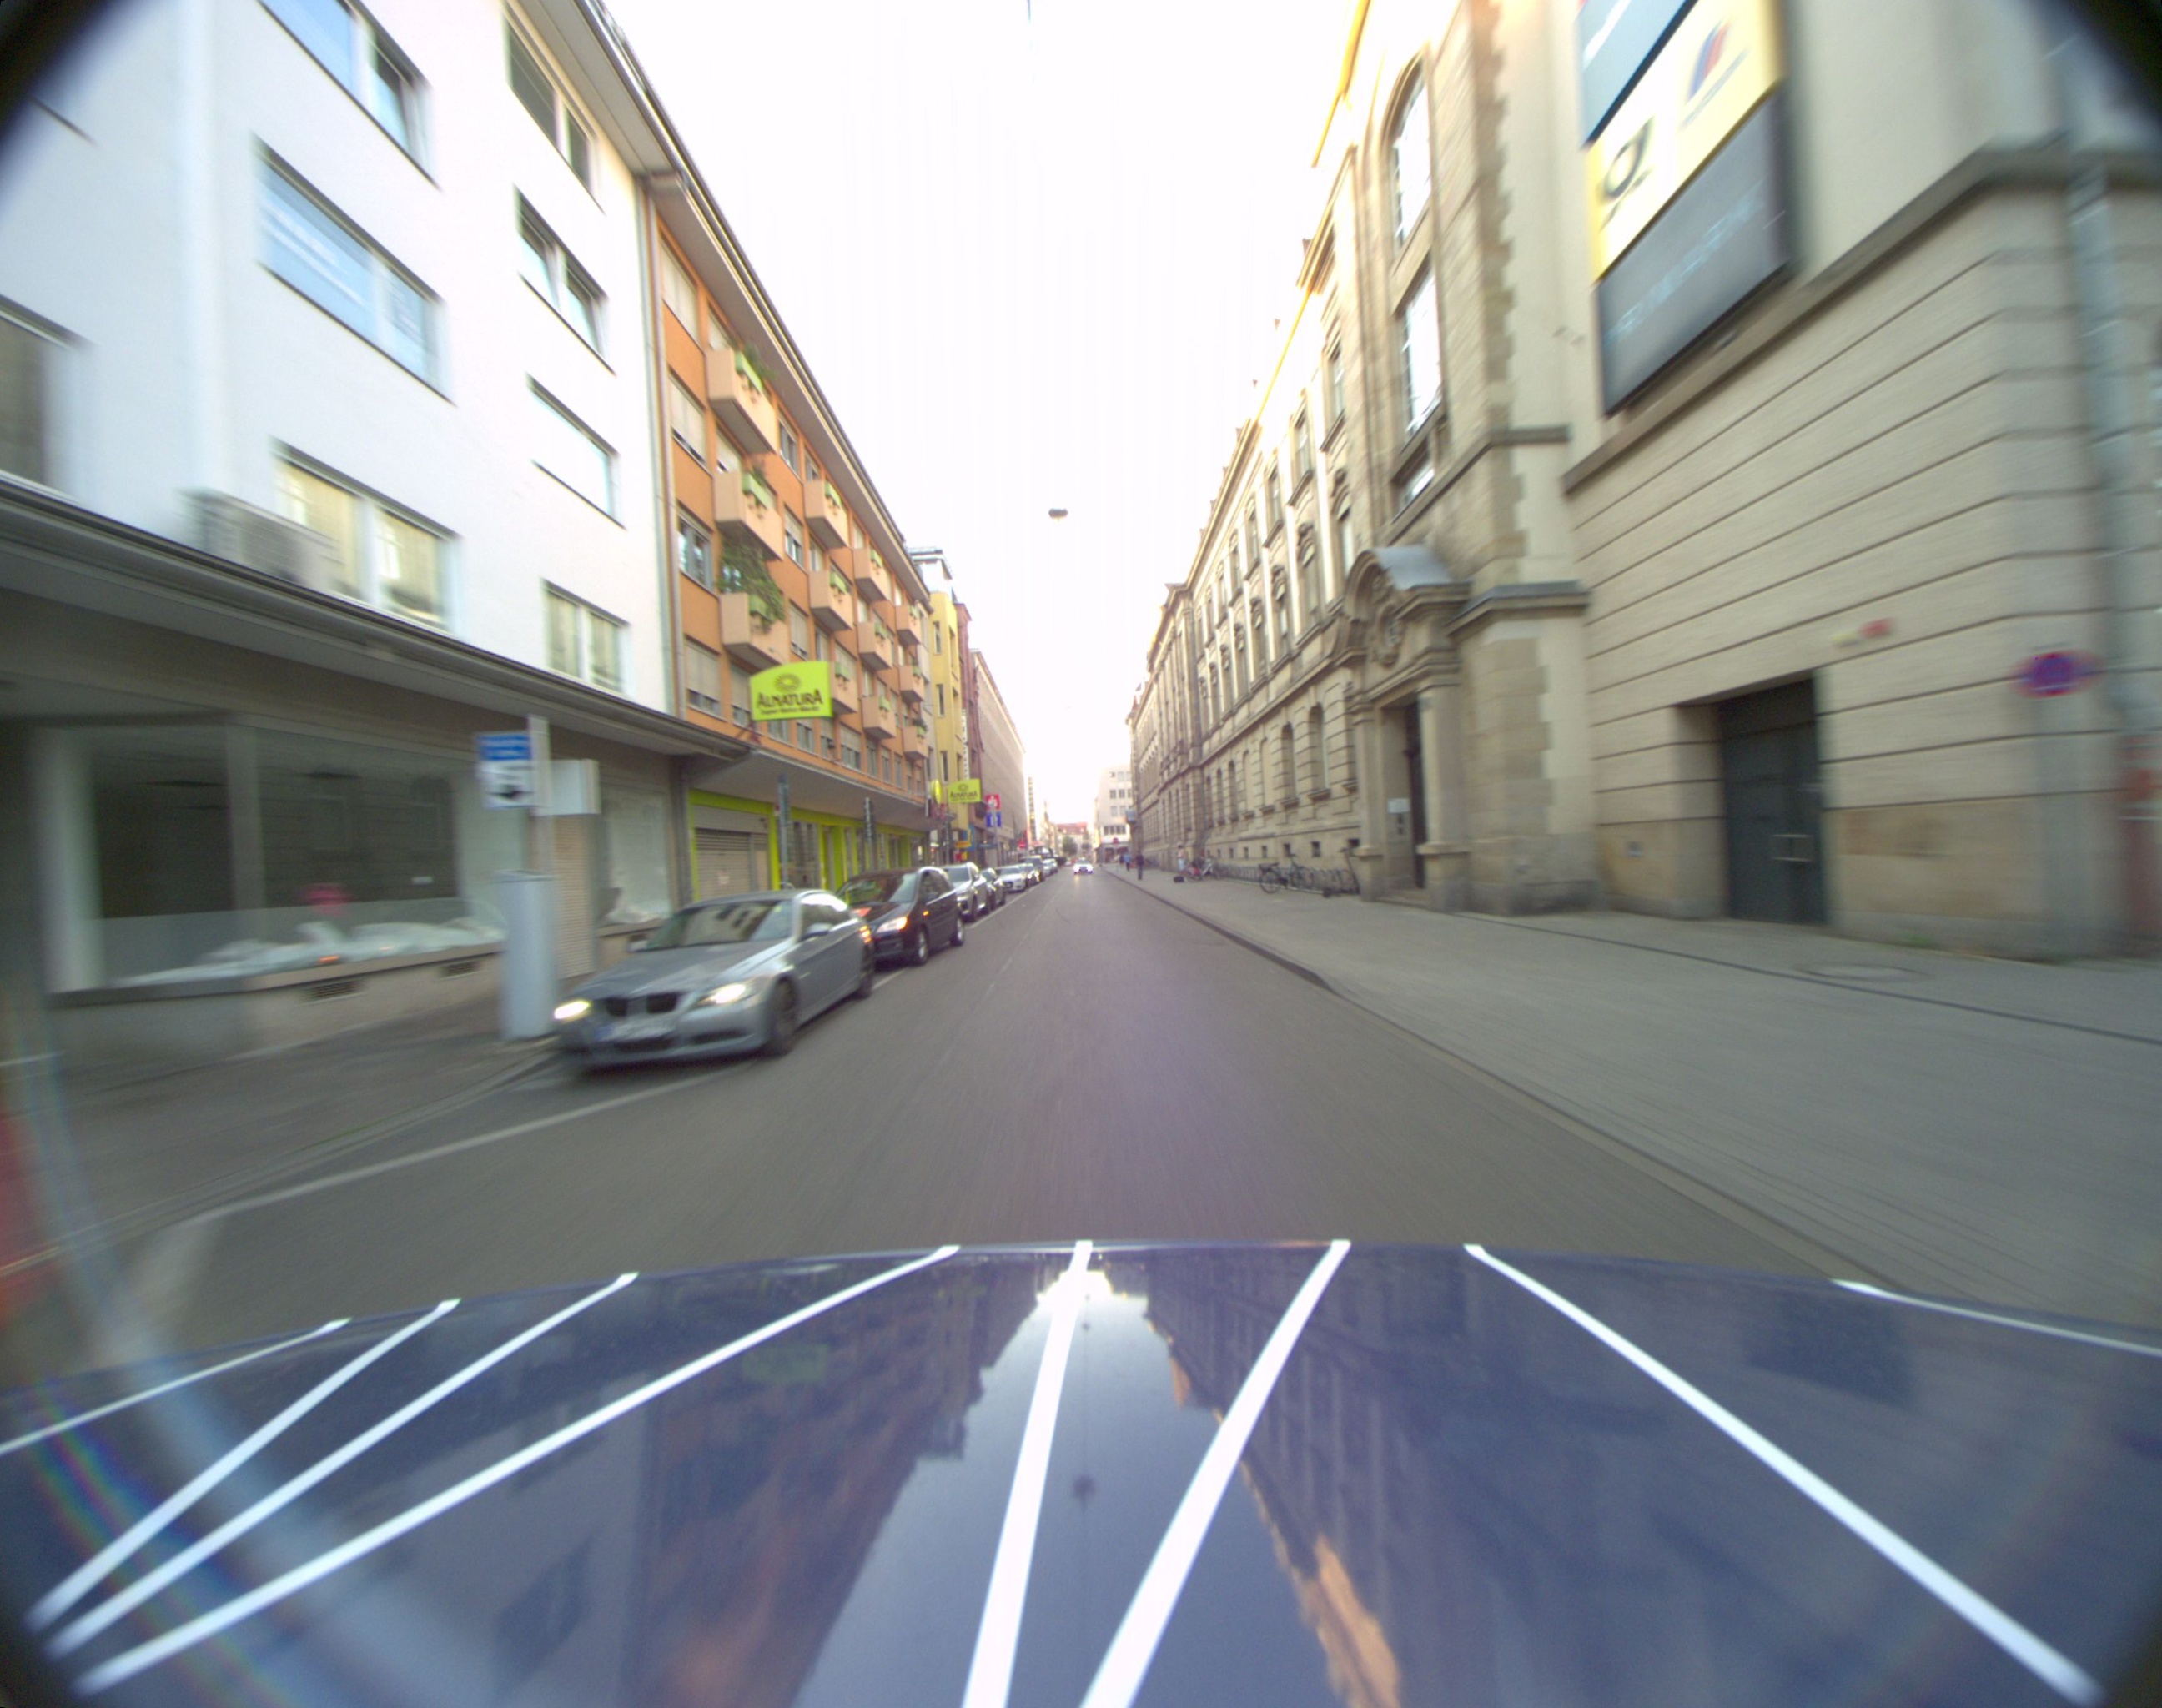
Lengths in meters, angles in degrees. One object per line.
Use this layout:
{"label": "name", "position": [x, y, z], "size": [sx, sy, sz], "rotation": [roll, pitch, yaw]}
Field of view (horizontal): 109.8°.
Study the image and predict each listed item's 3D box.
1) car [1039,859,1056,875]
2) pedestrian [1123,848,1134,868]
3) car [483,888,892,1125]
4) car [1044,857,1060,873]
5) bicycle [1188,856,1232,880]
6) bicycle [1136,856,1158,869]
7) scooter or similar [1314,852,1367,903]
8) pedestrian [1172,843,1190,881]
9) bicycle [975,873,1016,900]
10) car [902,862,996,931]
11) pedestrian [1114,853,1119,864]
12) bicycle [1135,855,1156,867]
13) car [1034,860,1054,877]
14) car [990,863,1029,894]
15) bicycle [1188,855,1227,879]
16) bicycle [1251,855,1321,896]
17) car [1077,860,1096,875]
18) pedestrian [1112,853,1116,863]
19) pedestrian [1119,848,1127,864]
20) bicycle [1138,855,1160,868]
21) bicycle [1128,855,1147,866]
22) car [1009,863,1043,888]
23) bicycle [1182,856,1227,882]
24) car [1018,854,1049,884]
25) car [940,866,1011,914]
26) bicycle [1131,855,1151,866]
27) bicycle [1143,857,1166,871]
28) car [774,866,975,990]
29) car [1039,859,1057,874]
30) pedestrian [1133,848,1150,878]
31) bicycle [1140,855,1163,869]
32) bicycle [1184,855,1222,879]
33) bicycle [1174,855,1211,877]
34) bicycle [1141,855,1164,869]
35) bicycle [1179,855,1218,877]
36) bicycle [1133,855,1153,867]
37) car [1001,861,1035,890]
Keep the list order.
{"label": "car", "position": [-3.535, 1.364, 80.562], "size": [1.661, 1.439, 4.444], "rotation": [-4, 0, -1]}
{"label": "pedestrian", "position": [4.425, 0.388, 71.003], "size": [0.831, 1.735, 0.769], "rotation": [-5, 0, 1]}
{"label": "car", "position": [-3.420, 1.204, 7.831], "size": [1.741, 1.407, 4.682], "rotation": [-5, -1, -1]}
{"label": "car", "position": [-3.487, 1.292, 91.594], "size": [1.781, 1.656, 4.812], "rotation": [-4, 0, -2]}
{"label": "bicycle", "position": [6.338, 0.676, 37.349], "size": [1.943, 1.055, 0.619], "rotation": [-4, 1, -5]}
{"label": "bicycle", "position": [6.506, 0.826, 75.088], "size": [1.943, 1.072, 0.730], "rotation": [-5, 1, -6]}
{"label": "scooter or similar", "position": [6.706, 0.598, 19.651], "size": [1.137, 1.225, 0.496], "rotation": [-4, 0, -12]}
{"label": "pedestrian", "position": [5.006, 0.412, 37.990], "size": [0.589, 1.840, 0.754], "rotation": [-5, 0, -5]}
{"label": "bicycle", "position": [-3.850, 1.468, 34.278], "size": [1.740, 1.049, 0.658], "rotation": [-4, 0, -41]}
{"label": "car", "position": [-3.753, 1.158, 22.458], "size": [1.756, 1.658, 4.757], "rotation": [-5, -1, 1]}
{"label": "pedestrian", "position": [6.137, 0.729, 131.205], "size": [0.783, 1.881, 0.642], "rotation": [-3, 1, 0]}
{"label": "bicycle", "position": [6.486, 0.715, 76.275], "size": [1.943, 1.072, 0.730], "rotation": [-5, 1, -6]}
{"label": "car", "position": [-3.613, 1.361, 74.588], "size": [1.661, 1.439, 4.307], "rotation": [-4, 0, 0]}
{"label": "car", "position": [-3.749, 1.269, 40.280], "size": [1.696, 1.403, 4.638], "rotation": [-5, -1, -2]}
{"label": "bicycle", "position": [6.348, 0.649, 38.164], "size": [1.799, 1.101, 0.500], "rotation": [-4, 1, -5]}
{"label": "bicycle", "position": [6.333, 0.656, 23.443], "size": [1.944, 1.055, 0.619], "rotation": [-6, 1, -14]}
{"label": "car", "position": [0.468, 1.323, 74.687], "size": [1.741, 1.407, 4.682], "rotation": [0, -1, -1]}
{"label": "pedestrian", "position": [6.048, 0.765, 140.541], "size": [0.545, 1.698, 0.558], "rotation": [-4, 0, 0]}
{"label": "pedestrian", "position": [4.943, 0.236, 89.976], "size": [0.778, 1.778, 0.820], "rotation": [-4, 0, -2]}
{"label": "bicycle", "position": [6.403, 0.734, 71.462], "size": [1.943, 1.072, 0.730], "rotation": [-5, 1, -6]}
{"label": "bicycle", "position": [6.395, 0.700, 86.091], "size": [2.024, 1.102, 0.730], "rotation": [-5, 1, -6]}
{"label": "car", "position": [-3.581, 1.380, 50.566], "size": [1.691, 1.444, 4.498], "rotation": [-5, -1, 2]}
{"label": "bicycle", "position": [5.898, 0.703, 36.310], "size": [1.942, 1.055, 0.619], "rotation": [-4, 1, -2]}
{"label": "car", "position": [-3.553, 1.077, 57.654], "size": [1.851, 2.046, 5.053], "rotation": [-4, 0, 0]}
{"label": "car", "position": [-3.687, 1.226, 27.426], "size": [1.695, 1.406, 4.757], "rotation": [-5, -1, 1]}
{"label": "bicycle", "position": [6.572, 0.701, 83.217], "size": [2.026, 1.072, 0.729], "rotation": [-5, 1, -19]}
{"label": "bicycle", "position": [6.491, 0.876, 67.191], "size": [1.940, 1.039, 0.721], "rotation": [-4, 0, -4]}
{"label": "car", "position": [-3.302, 1.111, 13.207], "size": [1.798, 1.600, 4.488], "rotation": [-5, -1, 5]}
{"label": "car", "position": [-3.697, 1.407, 86.111], "size": [1.661, 1.439, 3.869], "rotation": [-4, 0, 1]}
{"label": "pedestrian", "position": [3.649, 0.558, 46.038], "size": [0.811, 1.740, 0.969], "rotation": [-4, 1, 0]}
{"label": "bicycle", "position": [6.480, 0.718, 70.146], "size": [1.943, 1.072, 0.730], "rotation": [-5, 1, -6]}
{"label": "bicycle", "position": [6.302, 0.650, 39.364], "size": [1.799, 1.101, 0.500], "rotation": [-4, 1, -5]}
{"label": "bicycle", "position": [6.293, 0.665, 42.831], "size": [1.942, 1.055, 0.619], "rotation": [-4, 1, -1]}
{"label": "bicycle", "position": [6.409, 0.723, 68.109], "size": [1.942, 1.072, 0.748], "rotation": [-5, 1, -1]}
{"label": "bicycle", "position": [6.405, 0.657, 41.582], "size": [1.943, 1.055, 0.619], "rotation": [-4, 1, -5]}
{"label": "bicycle", "position": [6.518, 0.703, 79.789], "size": [1.943, 1.072, 0.730], "rotation": [-5, 1, -6]}
{"label": "car", "position": [-3.724, 1.265, 45.452], "size": [1.622, 1.507, 4.173], "rotation": [-5, -1, -1]}
